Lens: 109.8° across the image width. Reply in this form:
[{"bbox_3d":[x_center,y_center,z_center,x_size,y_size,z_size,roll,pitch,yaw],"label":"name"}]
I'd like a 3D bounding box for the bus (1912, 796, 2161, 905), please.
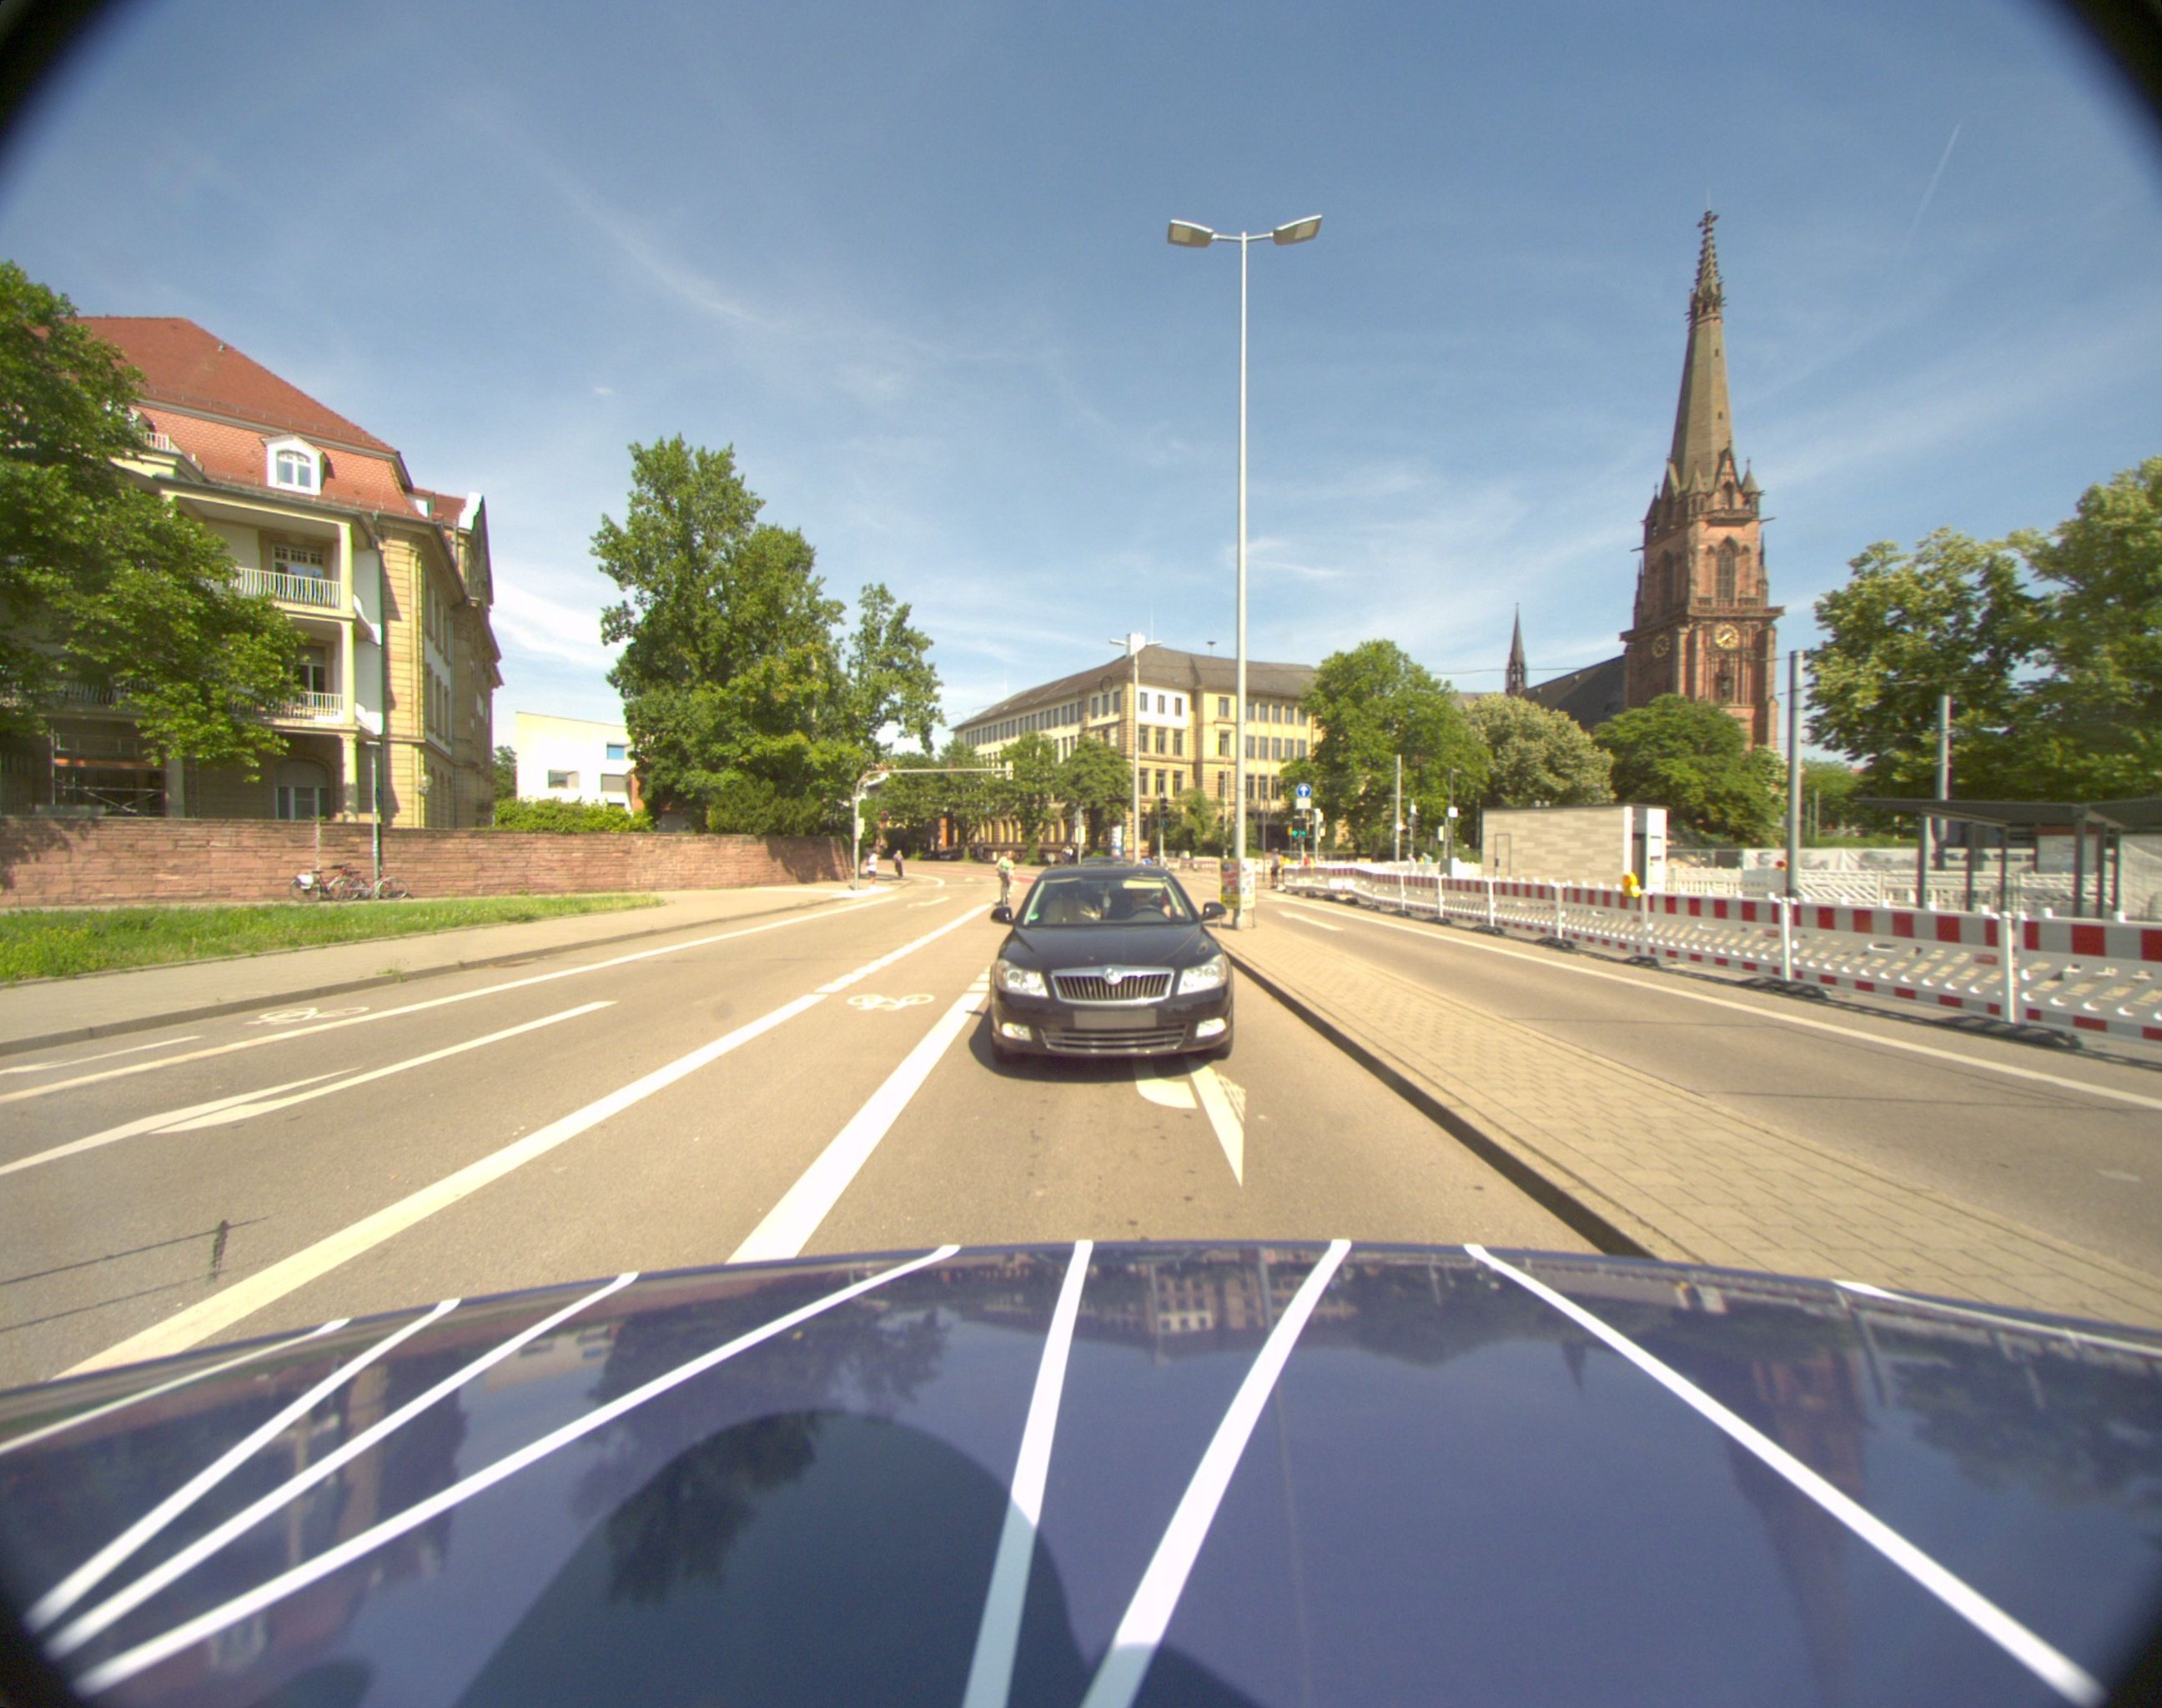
[{"bbox_3d":[35.823,-0.098,23.975,2.867,3.469,12.624,0,1,-34],"label":"bus"}]

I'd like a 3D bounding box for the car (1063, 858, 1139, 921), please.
[{"bbox_3d":[0.447,0.861,20.222,1.802,1.368,4.275,-1,1,-1],"label":"car"}]

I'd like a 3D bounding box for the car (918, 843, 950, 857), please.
[{"bbox_3d":[-20.611,-0.549,106.652,4.008,2.002,1.994,0,1,-35],"label":"car"}]

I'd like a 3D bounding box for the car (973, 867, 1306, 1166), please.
[{"bbox_3d":[0.236,0.953,6.675,1.864,1.510,4.825,0,1,-2],"label":"car"}]

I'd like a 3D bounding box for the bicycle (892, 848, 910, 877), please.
[{"bbox_3d":[-11.219,0.538,47.358,0.680,1.755,1.811,1,1,1],"label":"bicycle"}]

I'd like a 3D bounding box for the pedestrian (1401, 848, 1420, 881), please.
[{"bbox_3d":[16.273,0.531,37.504,0.660,1.606,0.795,0,1,42],"label":"pedestrian"}]

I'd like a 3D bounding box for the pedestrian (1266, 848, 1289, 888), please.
[{"bbox_3d":[8.943,0.618,34.601,0.839,1.802,0.651,0,1,41],"label":"pedestrian"}]

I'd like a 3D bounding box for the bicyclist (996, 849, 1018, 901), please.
[{"bbox_3d":[-2.233,0.621,23.072,0.588,1.539,0.931,-2,2,-4],"label":"bicyclist"}]

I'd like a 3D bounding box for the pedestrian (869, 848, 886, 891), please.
[{"bbox_3d":[-8.914,0.680,33.252,0.654,1.863,0.795,2,1,-18],"label":"pedestrian"}]

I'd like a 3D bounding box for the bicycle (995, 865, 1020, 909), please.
[{"bbox_3d":[-2.203,0.968,23.065,0.686,1.215,2.185,0,1,-4],"label":"bicycle"}]

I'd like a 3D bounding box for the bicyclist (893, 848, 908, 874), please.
[{"bbox_3d":[-11.231,0.427,47.298,0.680,1.646,0.919,1,1,1],"label":"bicyclist"}]

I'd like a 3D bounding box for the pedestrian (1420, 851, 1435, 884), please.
[{"bbox_3d":[17.333,0.676,37.997,0.584,1.606,0.691,0,1,34],"label":"pedestrian"}]

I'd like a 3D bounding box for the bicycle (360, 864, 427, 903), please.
[{"bbox_3d":[-20.482,0.867,22.663,0.348,1.116,1.438,1,1,35],"label":"bicycle"}]

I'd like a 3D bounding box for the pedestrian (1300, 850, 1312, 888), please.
[{"bbox_3d":[9.760,0.638,32.973,0.350,1.606,0.686,0,1,2],"label":"pedestrian"}]

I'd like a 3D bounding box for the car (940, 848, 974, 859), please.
[{"bbox_3d":[-16.747,-0.123,102.795,4.008,1.455,1.994,0,1,-35],"label":"car"}]

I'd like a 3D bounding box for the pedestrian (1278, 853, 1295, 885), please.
[{"bbox_3d":[10.058,0.712,37.199,0.667,1.534,0.423,-3,1,1],"label":"pedestrian"}]

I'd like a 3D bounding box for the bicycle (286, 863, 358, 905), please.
[{"bbox_3d":[-21.407,0.840,21.461,0.348,1.116,1.437,1,1,15],"label":"bicycle"}]
